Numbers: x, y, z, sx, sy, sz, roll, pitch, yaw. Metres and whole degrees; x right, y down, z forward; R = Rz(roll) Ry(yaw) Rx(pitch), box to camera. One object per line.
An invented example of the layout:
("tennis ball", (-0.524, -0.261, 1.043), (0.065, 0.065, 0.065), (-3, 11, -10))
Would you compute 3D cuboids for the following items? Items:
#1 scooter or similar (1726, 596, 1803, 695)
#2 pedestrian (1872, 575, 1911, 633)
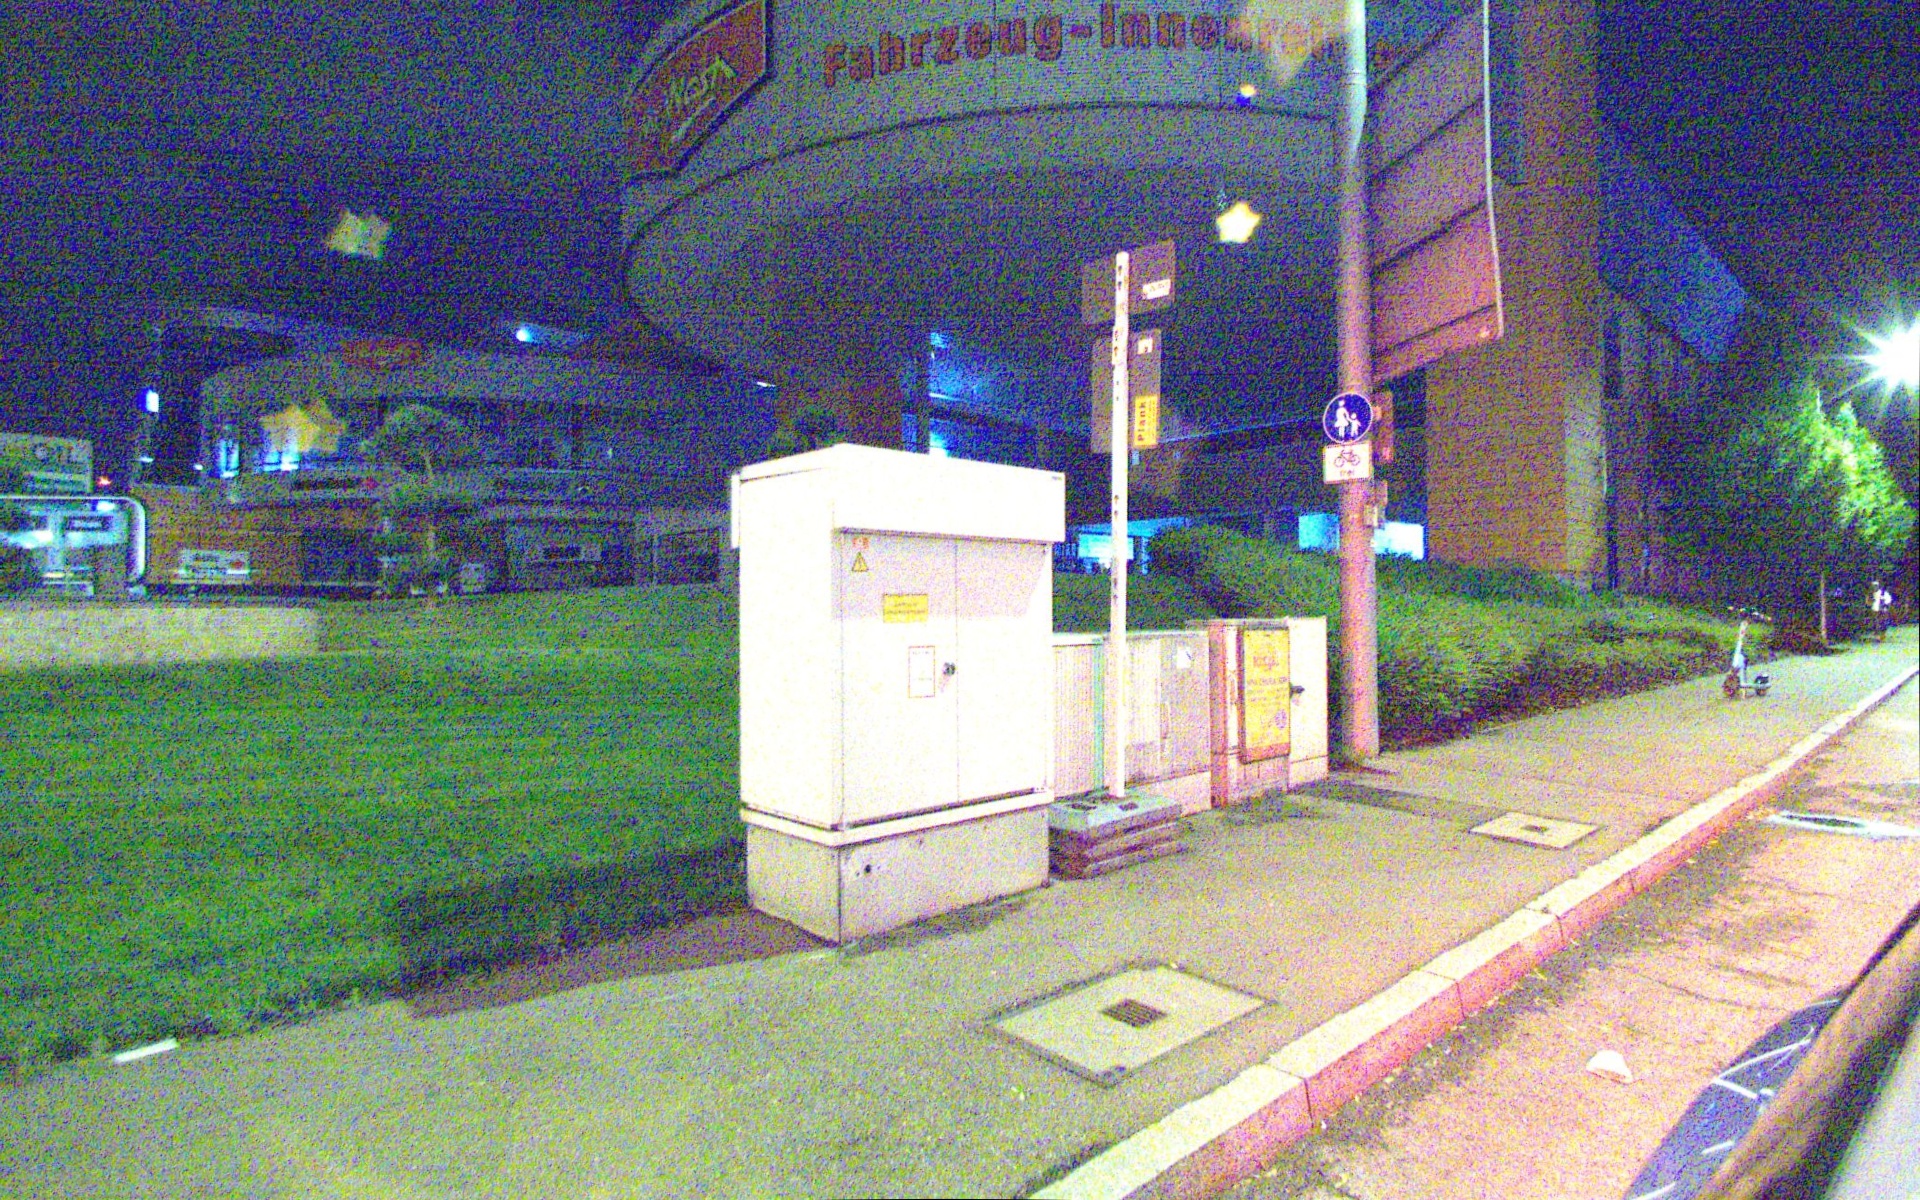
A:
("scooter or similar", (11.206, 0.609, 14.089), (1.367, 1.295, 0.569), (0, 1, -41))
("pedestrian", (29.947, 0.132, 32.541), (0.597, 1.842, 0.824), (-1, 0, -40))
